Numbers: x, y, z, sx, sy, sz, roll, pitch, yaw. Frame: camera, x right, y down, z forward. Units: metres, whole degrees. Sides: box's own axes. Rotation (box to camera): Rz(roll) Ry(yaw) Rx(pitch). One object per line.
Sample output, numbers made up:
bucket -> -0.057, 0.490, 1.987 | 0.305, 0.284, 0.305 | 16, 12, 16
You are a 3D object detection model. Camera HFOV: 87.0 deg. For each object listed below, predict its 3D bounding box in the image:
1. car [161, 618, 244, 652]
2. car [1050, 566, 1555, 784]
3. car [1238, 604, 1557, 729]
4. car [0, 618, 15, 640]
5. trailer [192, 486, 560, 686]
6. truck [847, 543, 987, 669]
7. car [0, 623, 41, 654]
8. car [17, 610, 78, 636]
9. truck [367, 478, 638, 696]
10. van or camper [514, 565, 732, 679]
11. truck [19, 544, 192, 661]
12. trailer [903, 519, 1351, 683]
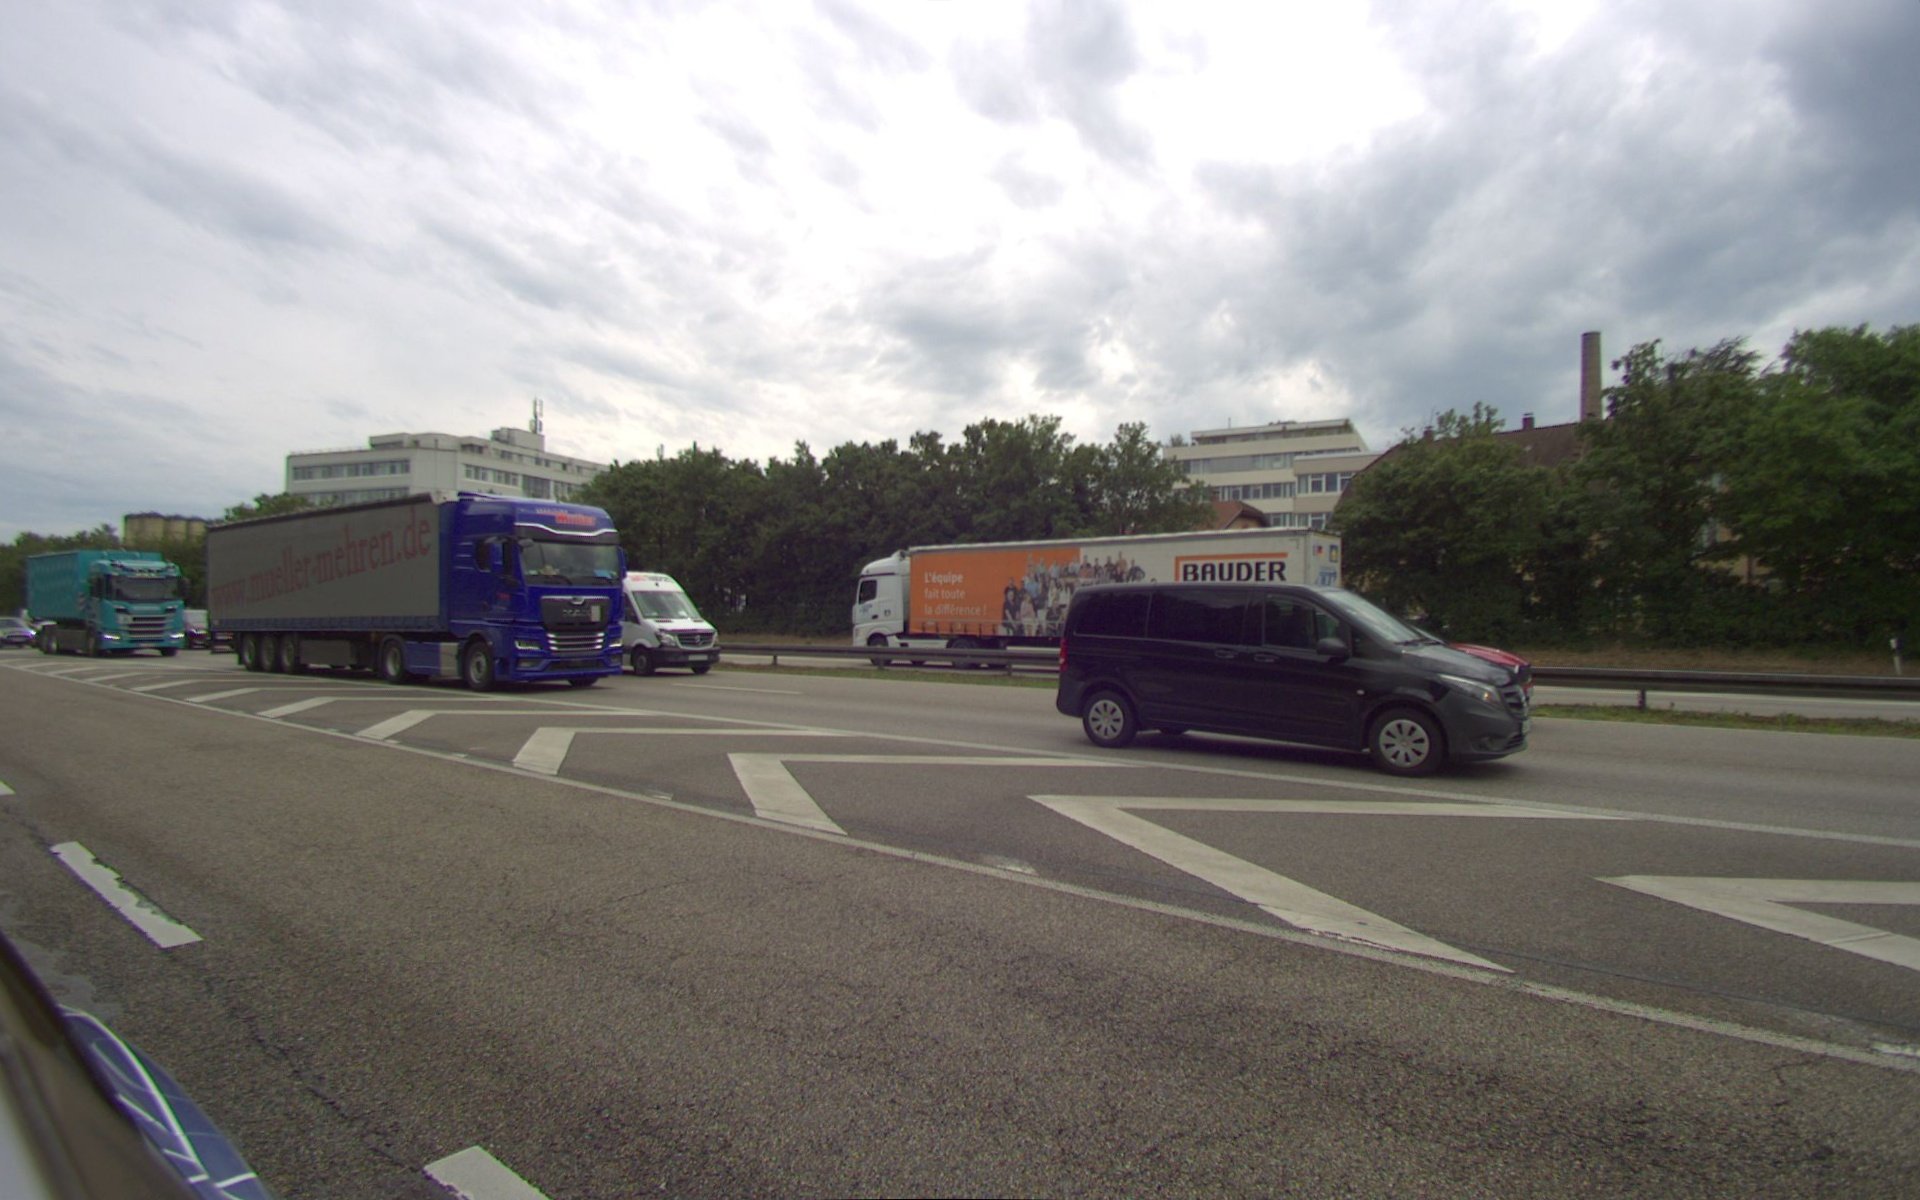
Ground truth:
car -> -33.591, 1.545, 44.837 | 3.993, 1.444, 1.875 | -1, -2, 37
car -> 3.520, 0.678, 10.950 | 4.806, 1.865, 1.974 | -1, -1, 39
car -> 6.281, 0.883, 14.786 | 3.943, 1.579, 1.748 | -1, -2, 42
car -> -65.732, 1.978, 68.519 | 3.243, 1.493, 1.976 | -1, -2, 36
trailer -> -15.199, -0.178, 25.407 | 13.893, 4.005, 2.649 | -1, -2, 36
truck -> -1.512, 0.237, 35.507 | 3.995, 4.122, 2.921 | -1, -2, 38
car -> -44.078, 1.754, 46.619 | 3.990, 1.332, 1.737 | -1, -1, 35
car -> -53.170, 1.354, 58.950 | 4.048, 1.444, 1.875 | -1, -2, 37
truck -> -9.742, -0.188, 21.367 | 5.916, 3.991, 2.645 | -1, -2, 36
van or camper -> -8.960, 0.572, 26.488 | 6.949, 2.641, 2.029 | -1, -2, 40
truck -> -32.967, 0.151, 38.844 | 10.104, 4.031, 2.669 | -1, -2, 36
trailer -> 4.384, 0.138, 30.858 | 13.809, 4.122, 2.921 | -1, -2, 38
